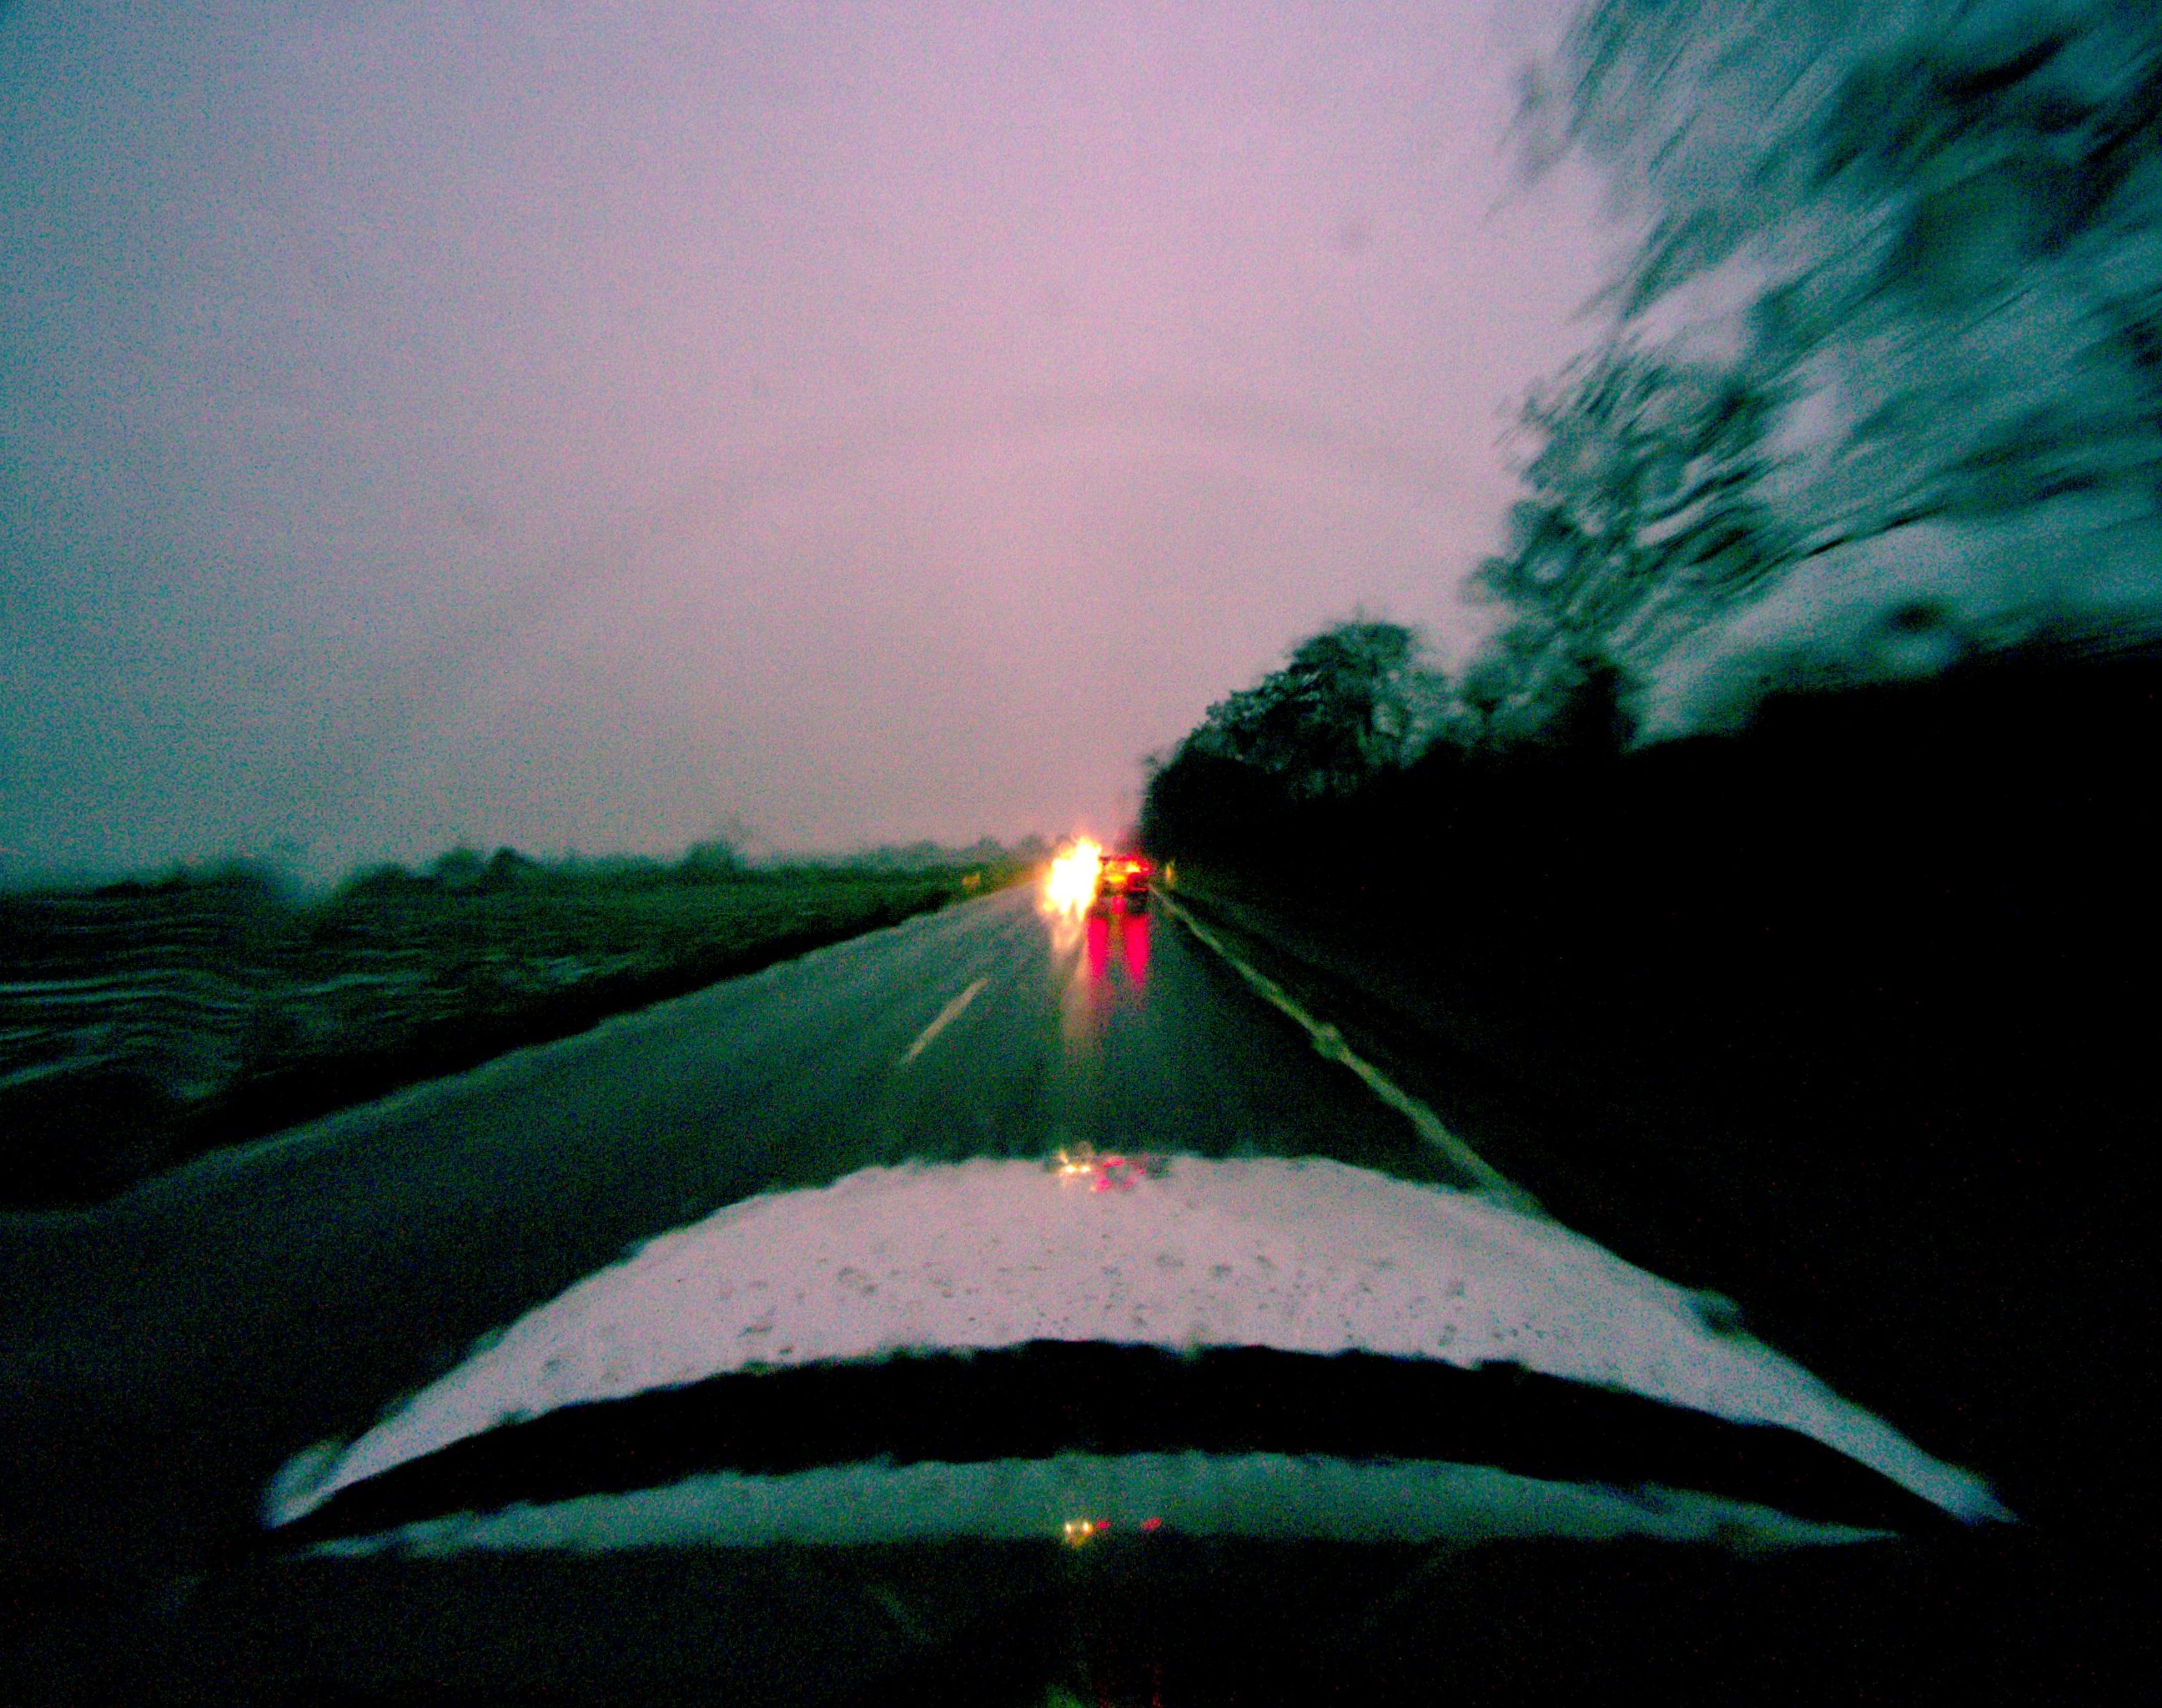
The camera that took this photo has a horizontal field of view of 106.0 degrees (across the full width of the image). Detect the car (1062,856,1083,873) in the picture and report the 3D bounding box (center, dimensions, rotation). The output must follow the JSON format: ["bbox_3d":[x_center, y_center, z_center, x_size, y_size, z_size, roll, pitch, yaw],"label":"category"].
[{"bbox_3d":[-0.731,0.925,73.320,1.722,1.413,4.024,-4,0,1],"label":"car"}]

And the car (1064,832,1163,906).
[{"bbox_3d":[1.058,0.435,25.902,2.809,2.077,5.808,0,0,3],"label":"car"}]

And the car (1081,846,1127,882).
[{"bbox_3d":[1.419,0.591,48.595,2.581,2.014,5.808,0,0,3],"label":"car"}]
